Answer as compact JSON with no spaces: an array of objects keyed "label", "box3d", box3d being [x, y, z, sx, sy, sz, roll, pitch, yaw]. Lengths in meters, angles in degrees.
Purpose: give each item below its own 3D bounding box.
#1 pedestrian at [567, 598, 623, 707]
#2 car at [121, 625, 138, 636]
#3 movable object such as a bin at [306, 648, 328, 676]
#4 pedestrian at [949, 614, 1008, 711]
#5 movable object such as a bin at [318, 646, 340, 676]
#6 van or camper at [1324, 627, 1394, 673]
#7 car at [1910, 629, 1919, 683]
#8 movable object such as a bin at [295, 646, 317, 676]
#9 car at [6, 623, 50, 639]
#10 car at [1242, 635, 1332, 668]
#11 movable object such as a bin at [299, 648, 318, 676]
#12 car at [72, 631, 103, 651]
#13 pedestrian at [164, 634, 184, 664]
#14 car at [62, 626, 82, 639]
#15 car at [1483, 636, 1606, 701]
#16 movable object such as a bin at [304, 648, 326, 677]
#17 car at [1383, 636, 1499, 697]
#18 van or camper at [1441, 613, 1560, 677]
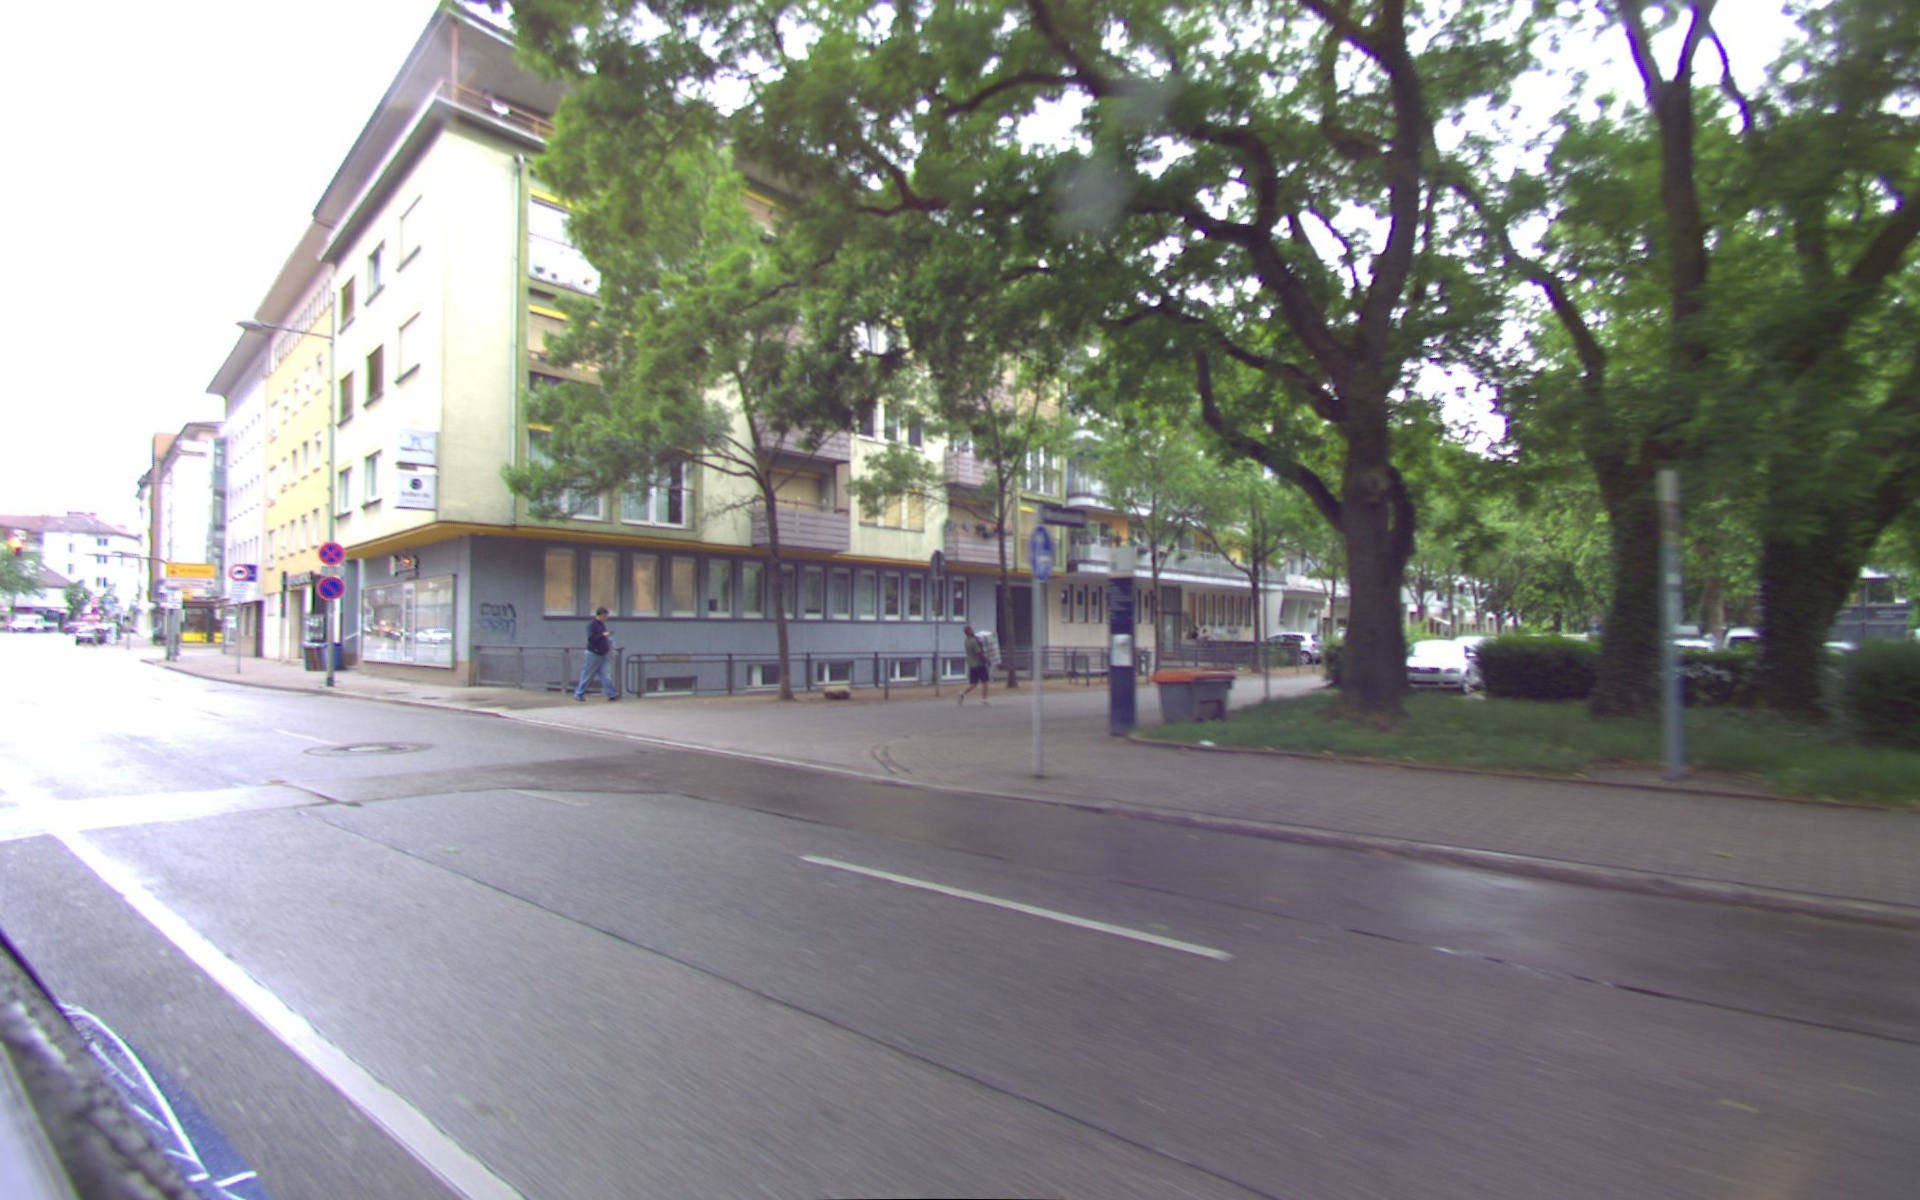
[{"label":"pedestrian","box3d":[-6.964,0.990,19.313,0.741,2.029,0.783,2,-3,-42]},{"label":"car","box3d":[-118.398,4.385,144.249,1.567,1.539,3.496,1,-2,-36]},{"label":"movable object such as a bin","box3d":[-21.939,2.120,34.526,0.522,0.902,0.435,-3,1,-42]},{"label":"pedestrian","box3d":[0.379,1.263,20.774,0.906,1.939,0.820,2,-3,-43]},{"label":"movable object such as a bin","box3d":[-21.389,2.064,34.329,0.522,0.968,0.435,-3,1,-42]},{"label":"van or camper","box3d":[19.030,2.357,48.107,1.825,2.029,4.576,1,-2,38]},{"label":"car","box3d":[33.952,1.929,34.642,1.802,1.838,3.946,-2,-3,40]},{"label":"movable object such as a bin","box3d":[-23.101,2.161,35.753,0.510,1.008,0.524,-3,1,-42]},{"label":"car","box3d":[-113.479,3.769,123.235,1.984,1.778,4.776,2,-3,-17]},{"label":"car","box3d":[16.604,2.594,51.528,3.998,1.608,1.757,-1,-2,41]},{"label":"movable object such as a bin","box3d":[-22.669,2.164,35.204,0.458,0.935,0.429,-3,1,-42]},{"label":"car","box3d":[-73.675,3.435,85.472,1.807,1.634,4.007,2,-3,-39]},{"label":"pedestrian","box3d":[-44.414,2.760,57.199,0.773,1.600,0.675,-1,-1,-29]},{"label":"car","box3d":[-106.121,3.896,120.980,1.723,1.608,4.005,2,-3,-42]},{"label":"car","box3d":[14.564,1.624,25.140,1.863,1.475,3.944,-2,-3,42]},{"label":"movable object such as a bin","box3d":[-22.237,2.139,34.887,0.521,0.935,0.426,-3,1,-42]},{"label":"car","box3d":[12.762,1.697,26.767,1.863,1.475,3.592,-2,-3,41]},{"label":"van or camper","box3d":[22.728,1.846,42.327,2.561,2.420,8.535,-2,-3,41]}]
